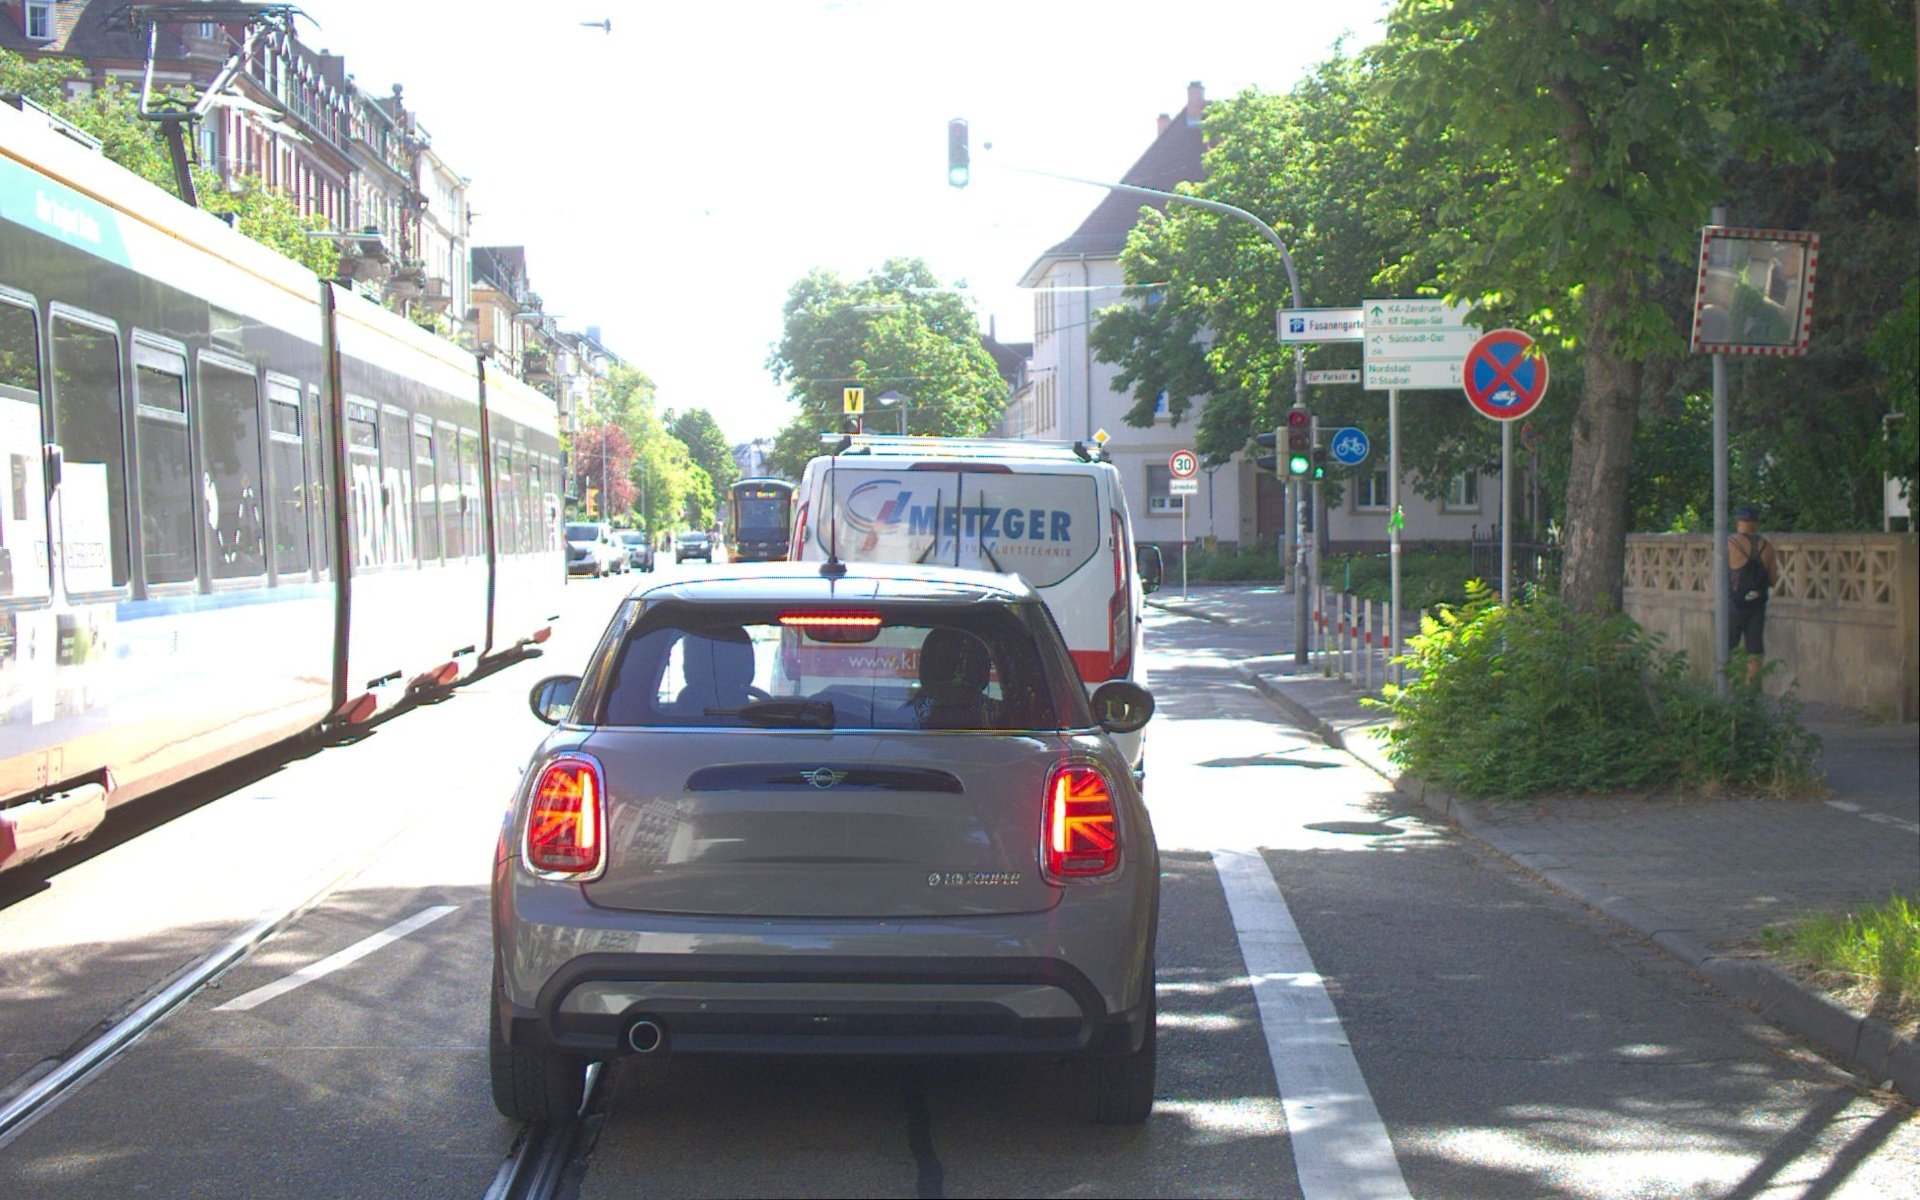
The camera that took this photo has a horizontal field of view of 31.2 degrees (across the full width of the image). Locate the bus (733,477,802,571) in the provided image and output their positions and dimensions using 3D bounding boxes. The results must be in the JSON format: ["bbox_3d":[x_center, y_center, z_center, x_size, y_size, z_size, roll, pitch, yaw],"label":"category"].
[{"bbox_3d":[-7.475,-2.902,132.891,2.385,3.484,7.385,1,1,-5],"label":"bus"}]

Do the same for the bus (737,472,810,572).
[{"bbox_3d":[-6.855,-2.802,125.501,2.385,3.484,7.385,1,1,-5],"label":"bus"}]

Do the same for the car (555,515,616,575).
[{"bbox_3d":[-13.045,-1.903,119.461,1.993,2.007,5.030,1,1,-7],"label":"car"}]

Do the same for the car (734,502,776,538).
[{"bbox_3d":[-9.471,-3.673,158.680,1.863,1.558,4.001,1,1,-4],"label":"car"}]

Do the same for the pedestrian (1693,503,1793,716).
[{"bbox_3d":[6.245,0.073,27.436,0.592,1.665,0.647,-2,0,-1],"label":"pedestrian"}]

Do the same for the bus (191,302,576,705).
[{"bbox_3d":[-6.125,-0.976,38.584,2.849,3.764,12.199,1,1,-3],"label":"bus"}]

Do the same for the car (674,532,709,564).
[{"bbox_3d":[-14.087,-2.730,180.659,1.775,1.612,4.001,1,1,-4],"label":"car"}]

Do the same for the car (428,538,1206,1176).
[{"bbox_3d":[-0.359,0.587,10.110,1.815,1.483,4.000,1,1,-1],"label":"car"}]

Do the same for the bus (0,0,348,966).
[{"bbox_3d":[-4.987,-0.645,15.737,2.859,3.764,11.499,1,1,-3],"label":"bus"}]

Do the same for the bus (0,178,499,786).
[{"bbox_3d":[-5.552,-0.796,27.050,2.859,3.764,11.185,1,1,-3],"label":"bus"}]

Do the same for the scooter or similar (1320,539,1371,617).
[{"bbox_3d":[6.592,-0.378,58.824,0.676,1.305,1.329,1,0,-1],"label":"scooter or similar"}]

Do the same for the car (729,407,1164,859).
[{"bbox_3d":[-0.094,0.138,19.420,2.118,2.200,4.945,1,1,-1],"label":"car"}]

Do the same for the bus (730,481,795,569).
[{"bbox_3d":[-8.098,-3.025,140.293,2.385,3.484,7.385,1,1,-5],"label":"bus"}]

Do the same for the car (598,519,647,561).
[{"bbox_3d":[-13.199,-2.335,134.587,1.775,1.612,4.001,1,1,-4],"label":"car"}]
